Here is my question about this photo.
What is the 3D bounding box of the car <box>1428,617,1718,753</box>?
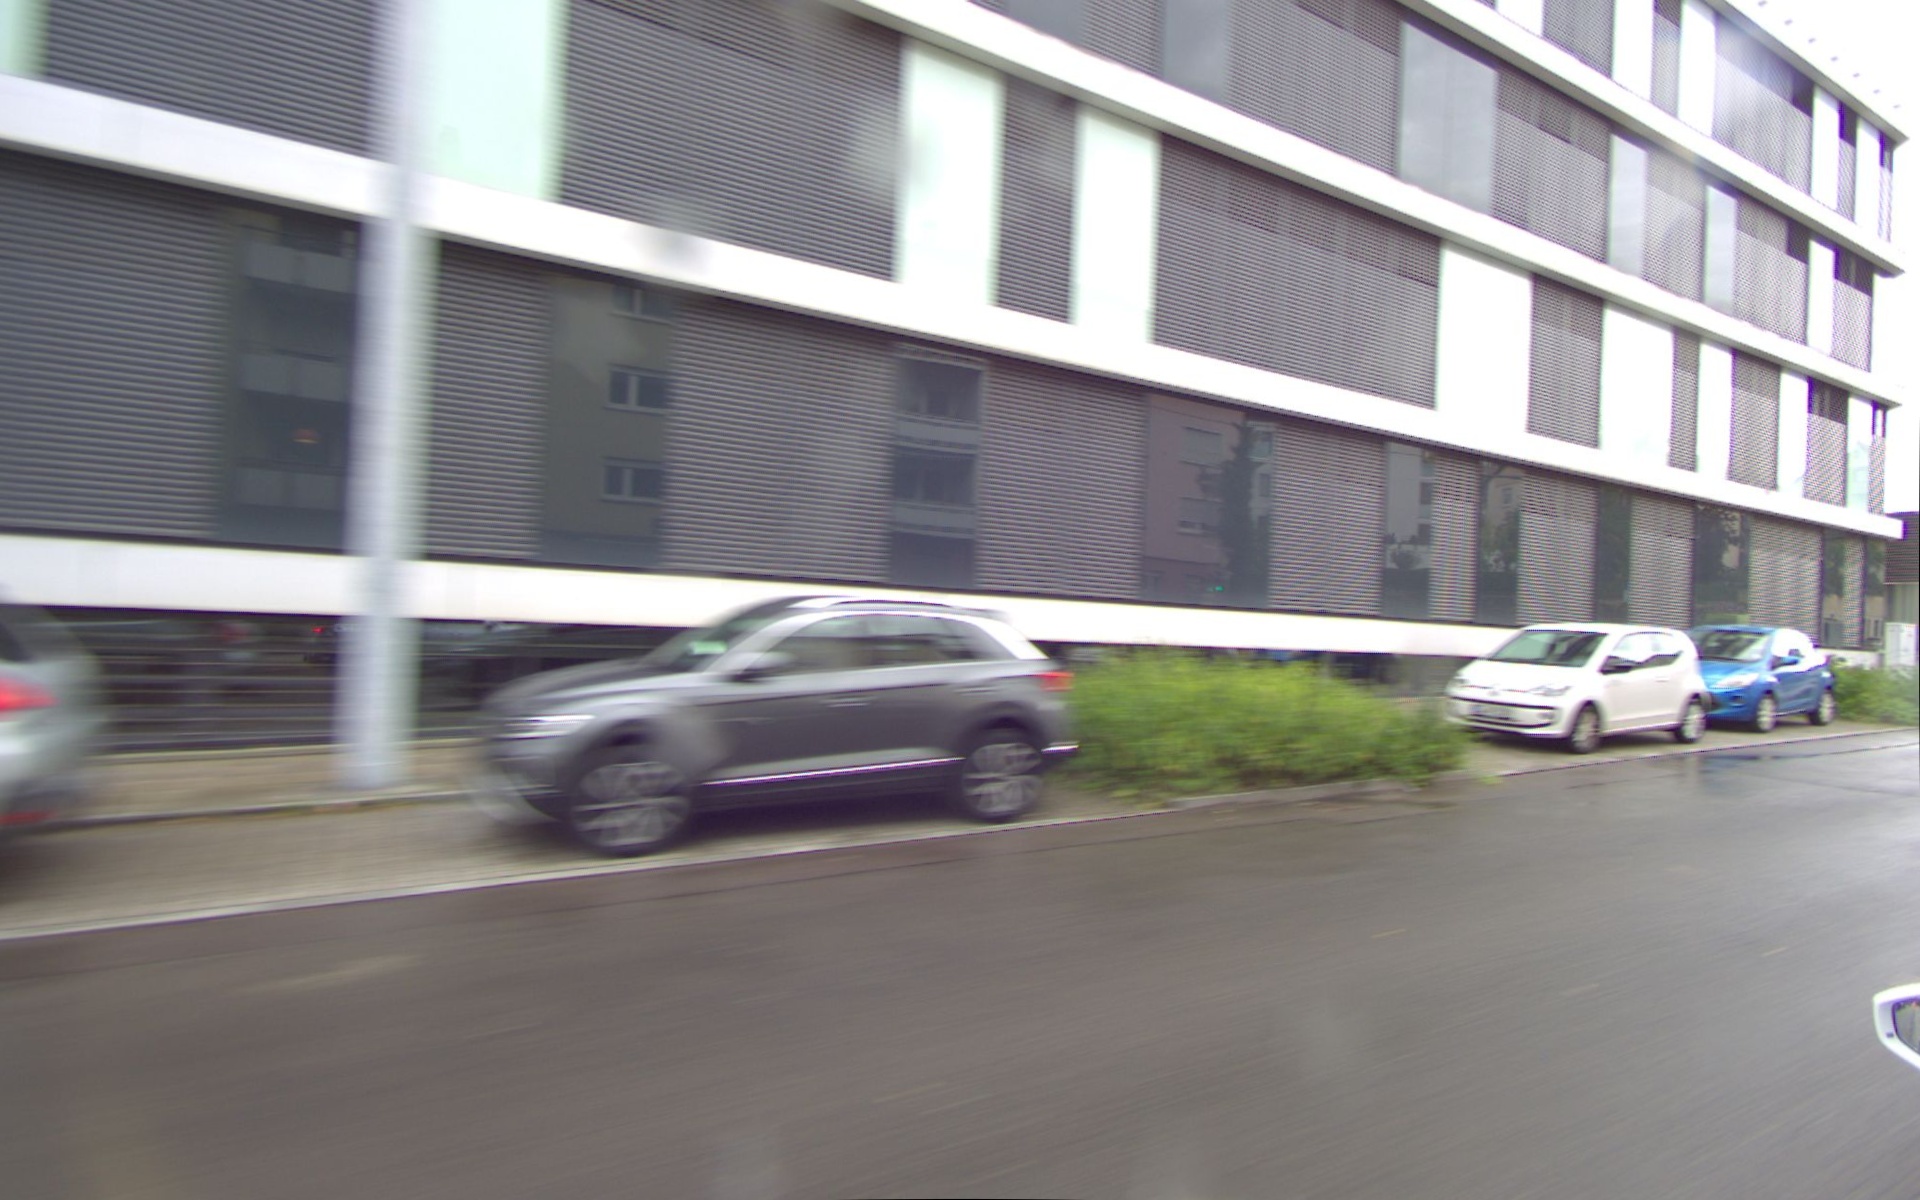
[{"bbox_3d":[7.821,1.012,12.782,3.541,1.486,1.630,2,0,-29],"label":"car"}]

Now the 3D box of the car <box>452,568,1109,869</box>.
[{"bbox_3d":[-1.243,0.679,7.284,4.309,1.610,1.874,2,1,-28],"label":"car"}]

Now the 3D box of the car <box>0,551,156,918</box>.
[{"bbox_3d":[-6.343,0.519,4.256,4.311,1.610,1.821,2,1,-30],"label":"car"}]

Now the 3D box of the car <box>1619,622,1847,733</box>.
[{"bbox_3d":[11.849,1.125,15.365,3.544,1.486,1.628,2,0,-32],"label":"car"}]
